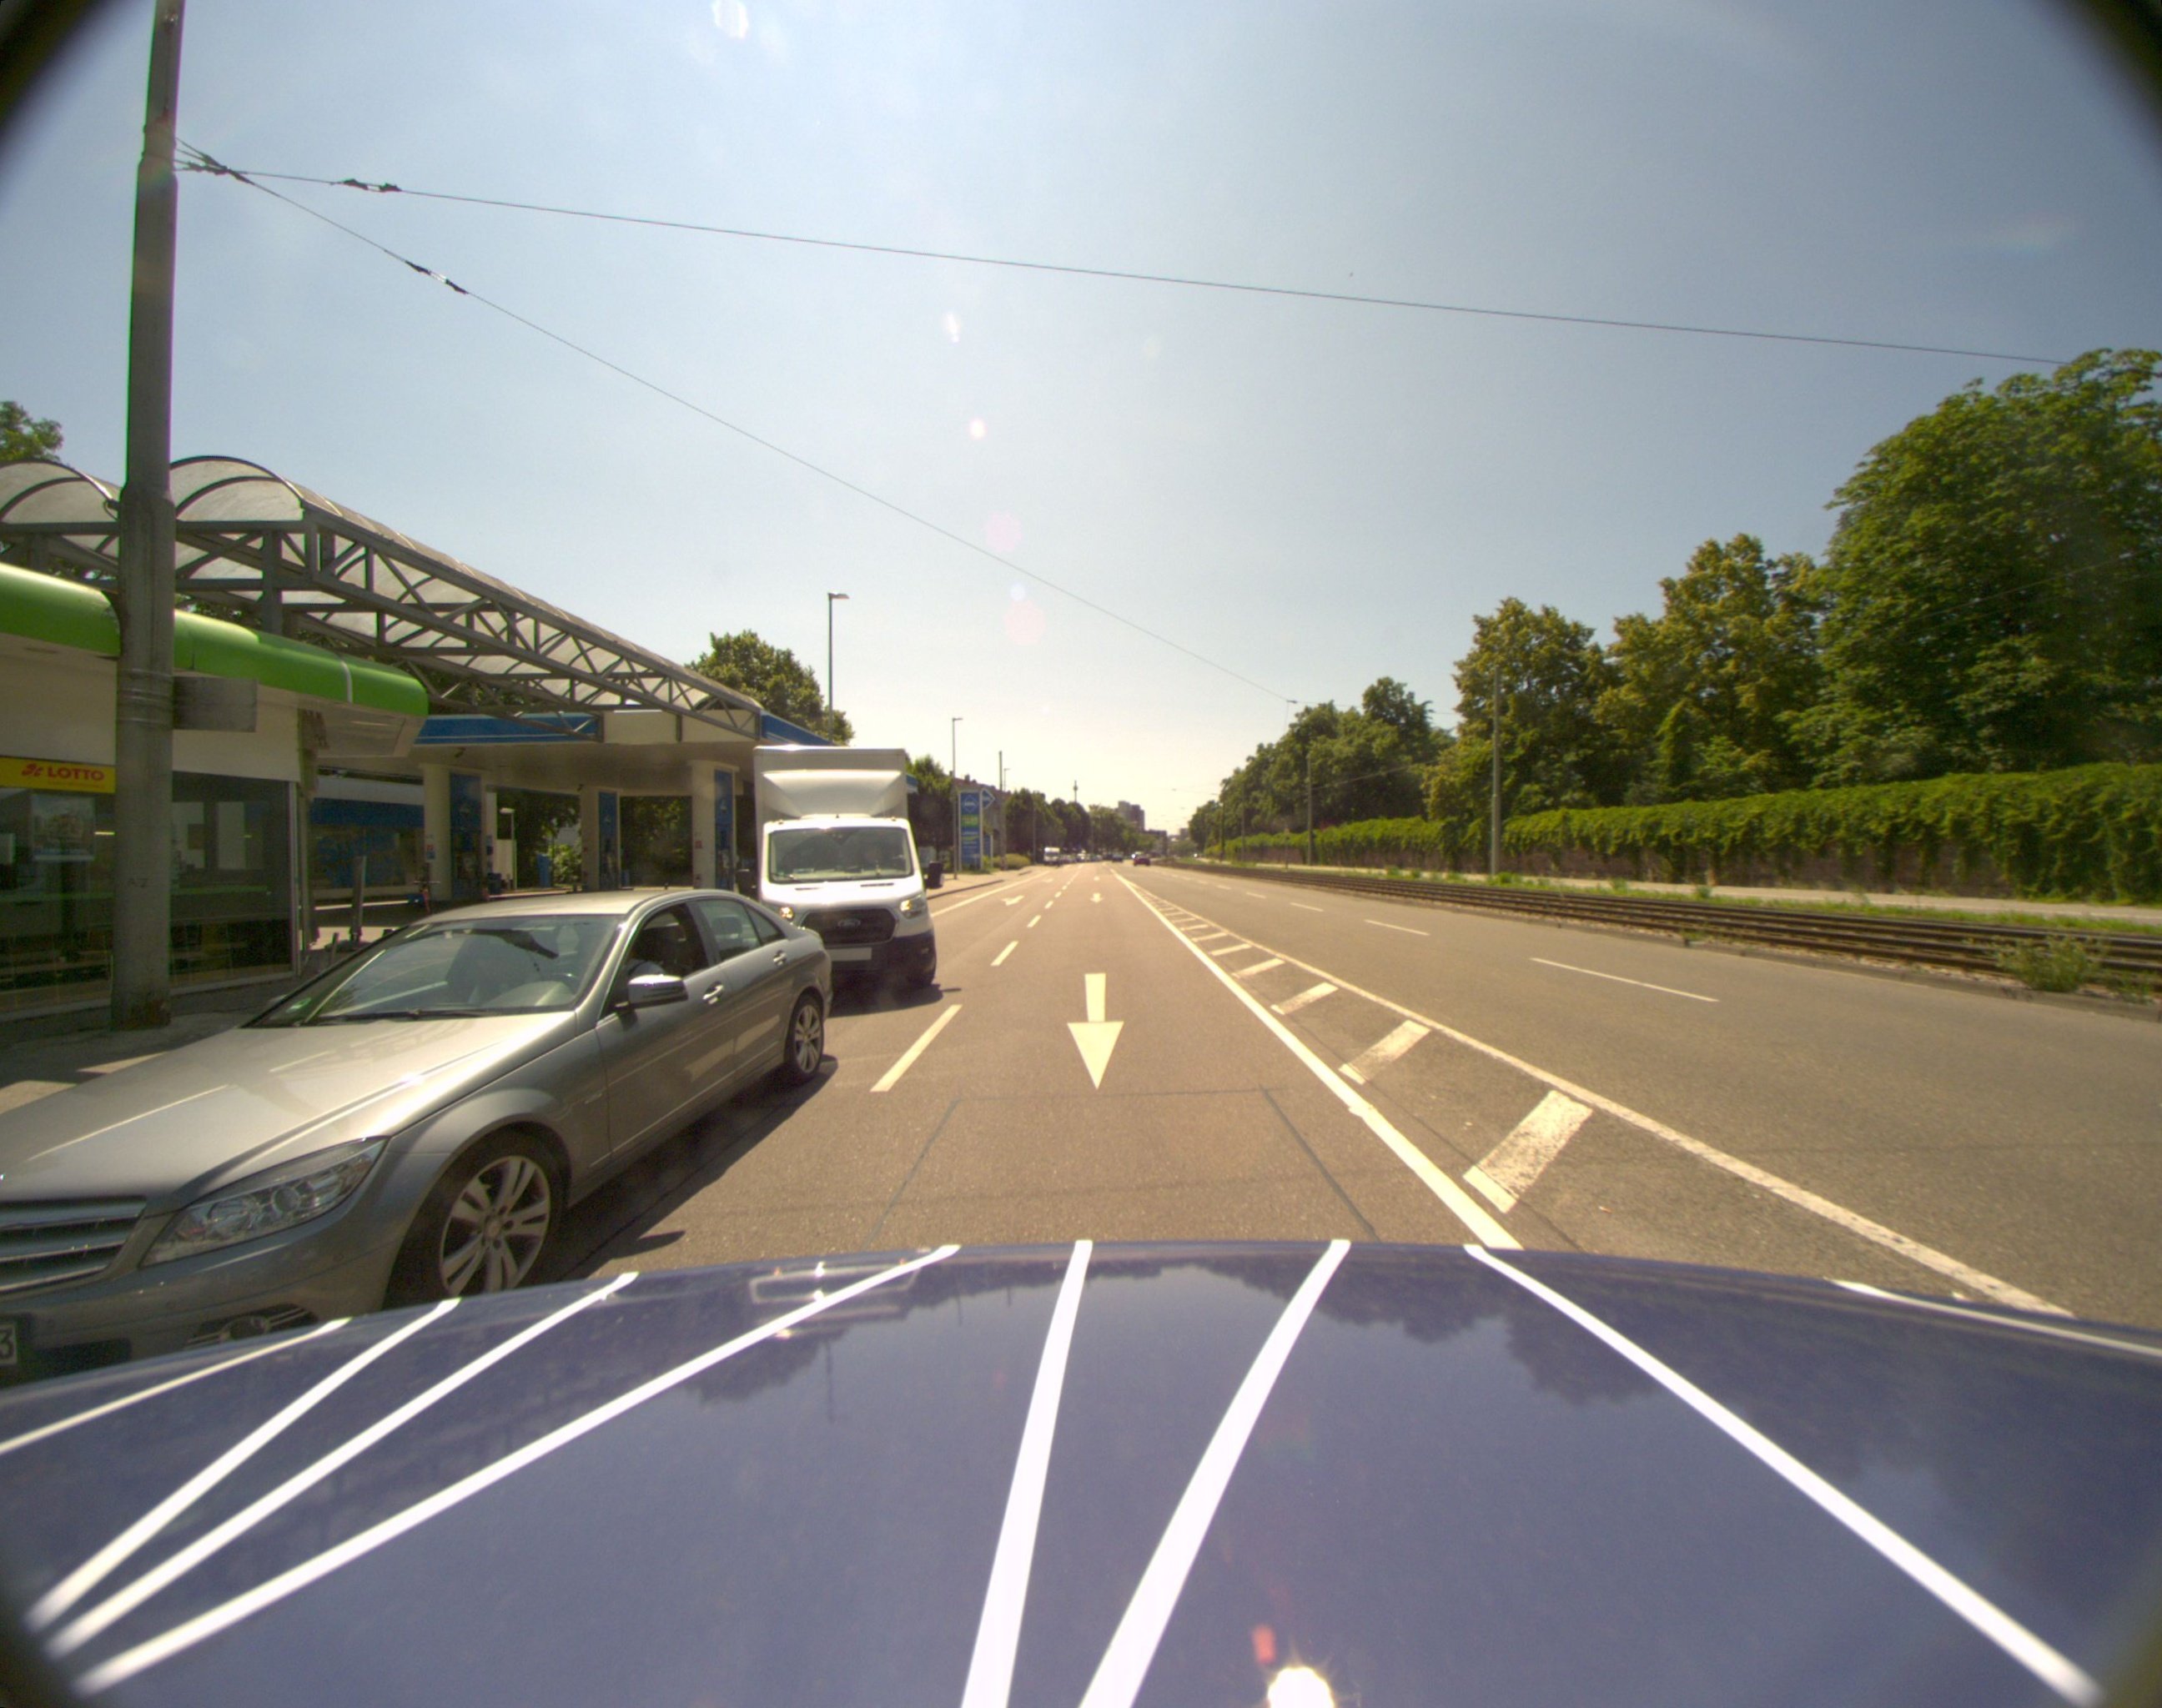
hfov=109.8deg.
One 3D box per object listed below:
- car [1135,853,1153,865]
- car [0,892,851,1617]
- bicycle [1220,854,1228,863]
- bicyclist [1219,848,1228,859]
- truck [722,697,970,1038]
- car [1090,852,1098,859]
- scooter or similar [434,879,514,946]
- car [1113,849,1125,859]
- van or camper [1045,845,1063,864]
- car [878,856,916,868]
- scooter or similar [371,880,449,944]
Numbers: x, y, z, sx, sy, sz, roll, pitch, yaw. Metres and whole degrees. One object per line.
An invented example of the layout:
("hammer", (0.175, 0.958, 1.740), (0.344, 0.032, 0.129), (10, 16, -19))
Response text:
("car", (7.873, 0.614, 94.662), (1.989, 1.350, 4.538), (-1, 0, 2))
("car", (-2.857, 1.050, 3.981), (1.800, 1.441, 4.418), (-1, 0, 2))
("bicycle", (19.181, 0.608, 102.199), (0.830, 1.149, 2.686), (-1, 0, 6))
("bicyclist", (19.180, -0.014, 102.169), (0.997, 1.477, 1.000), (-1, 1, 5))
("truck", (-3.831, 0.125, 11.598), (2.430, 3.372, 7.818), (-1, 0, -22))
("car", (2.871, 0.269, 170.587), (1.806, 1.585, 4.000), (-1, 0, 1))
("scooter or similar", (-11.543, 1.106, 14.471), (1.176, 1.233, 0.412), (-1, 1, 2))
("car", (6.498, -0.030, 130.485), (1.998, 1.608, 4.000), (-1, 0, 1))
("van or camper", (-3.519, 0.029, 101.834), (2.126, 2.469, 5.993), (2, 0, 0))
("car", (-23.299, 0.997, 96.303), (4.221, 1.512, 2.001), (-1, 0, 9))
("scooter or similar", (-12.836, 1.107, 14.536), (1.138, 1.170, 0.384), (-1, 1, 2))
